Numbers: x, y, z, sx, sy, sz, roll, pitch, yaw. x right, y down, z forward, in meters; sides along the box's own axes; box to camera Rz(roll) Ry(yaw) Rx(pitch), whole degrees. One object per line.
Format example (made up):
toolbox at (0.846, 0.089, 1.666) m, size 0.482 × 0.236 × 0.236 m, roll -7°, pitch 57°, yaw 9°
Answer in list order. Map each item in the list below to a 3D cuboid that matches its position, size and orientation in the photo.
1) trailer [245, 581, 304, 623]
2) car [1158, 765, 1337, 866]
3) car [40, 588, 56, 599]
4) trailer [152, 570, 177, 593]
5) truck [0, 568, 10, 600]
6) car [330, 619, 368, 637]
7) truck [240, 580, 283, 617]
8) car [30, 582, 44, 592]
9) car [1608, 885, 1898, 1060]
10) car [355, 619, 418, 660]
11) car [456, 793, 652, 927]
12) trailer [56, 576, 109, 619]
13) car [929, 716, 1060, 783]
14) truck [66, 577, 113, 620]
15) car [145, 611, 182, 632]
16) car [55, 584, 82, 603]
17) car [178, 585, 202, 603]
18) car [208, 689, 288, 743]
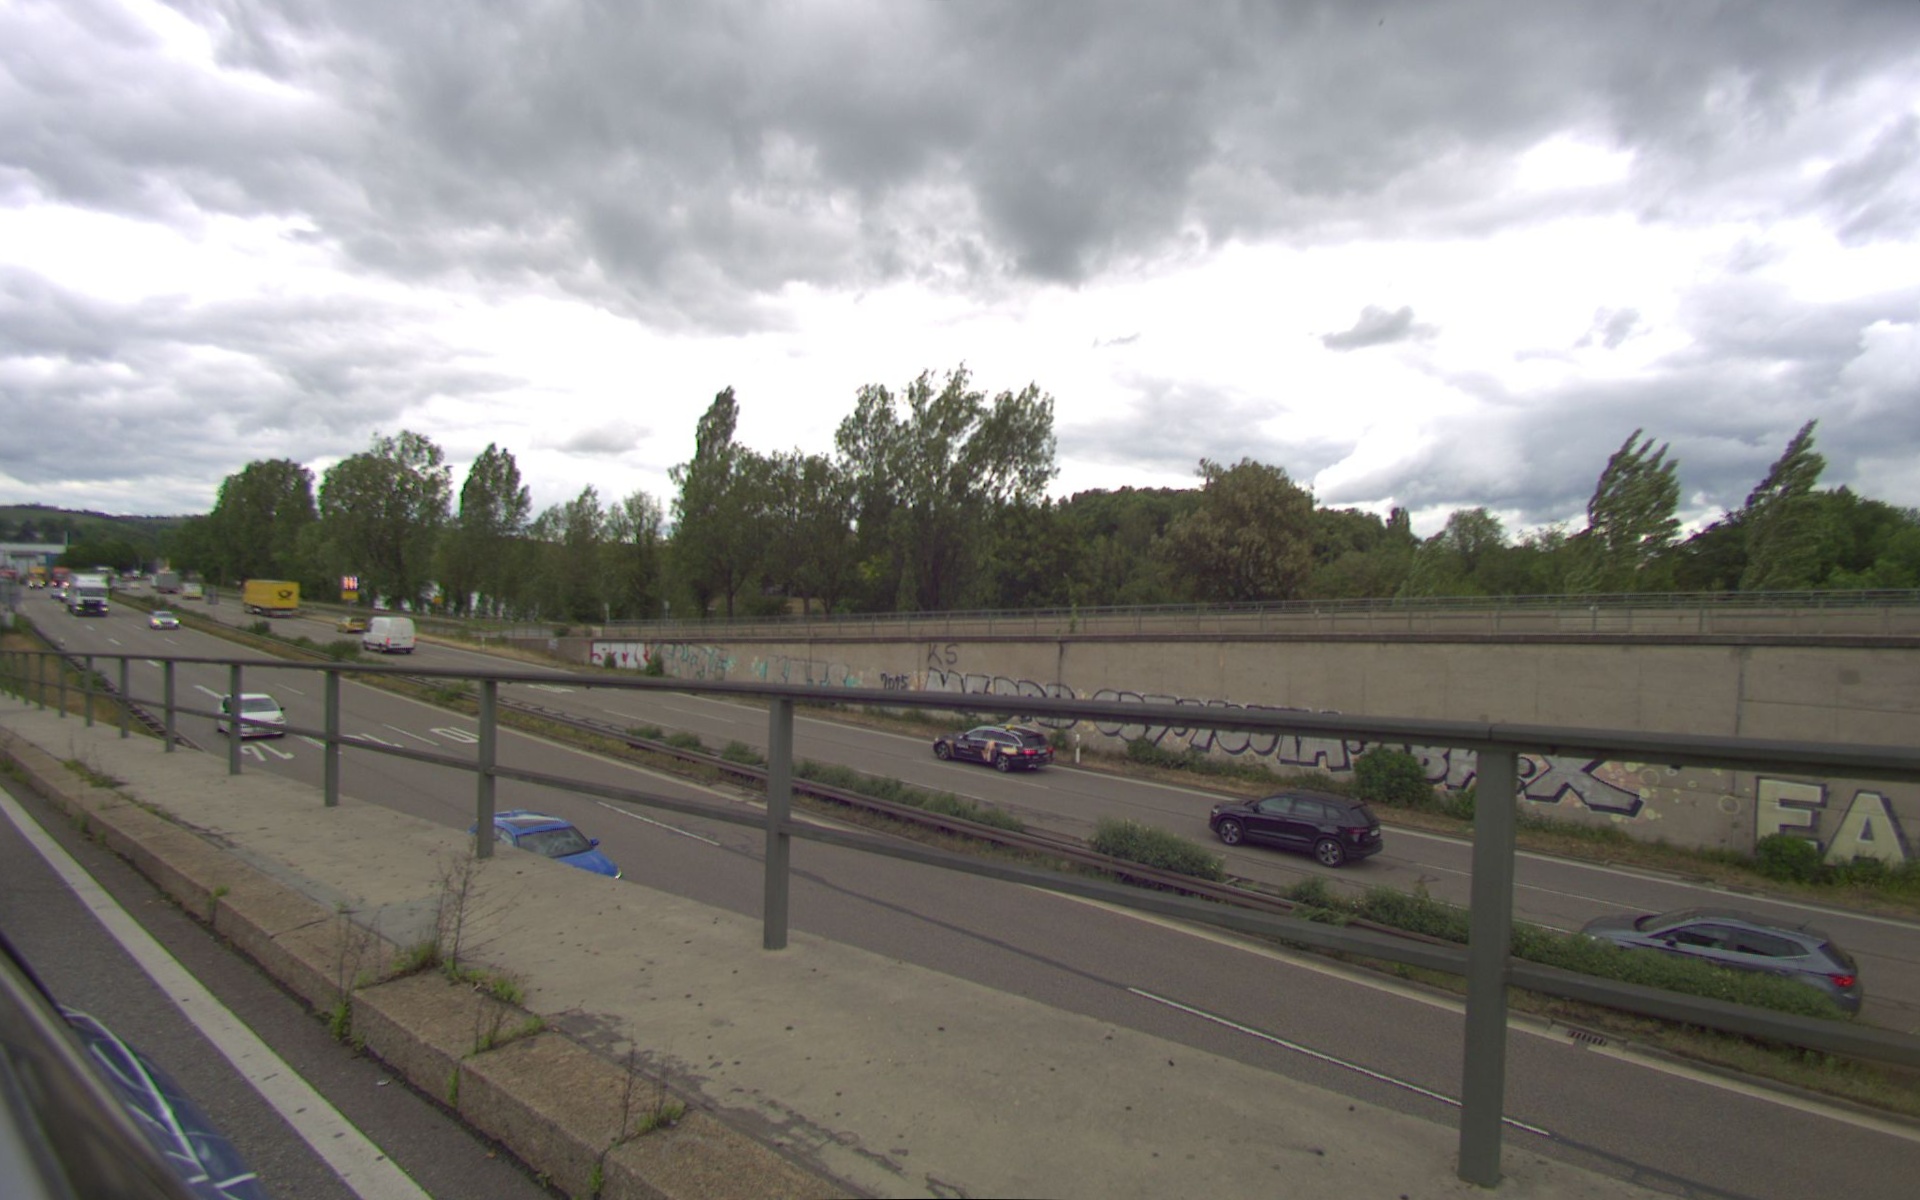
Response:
trailer at (-79.109, 0.131, 116.636) m, size 3.203 × 4.294 × 13.691 m, roll 2°, pitch 0°, yaw -44°
car at (7.607, 5.639, 26.992) m, size 4.181 × 1.731 × 1.862 m, roll 2°, pitch 0°, yaw 41°
car at (-130.625, -0.901, 144.939) m, size 3.538 × 1.383 × 1.492 m, roll 3°, pitch 0°, yaw 43°
trailer at (-156.023, -3.714, 198.396) m, size 2.753 × 4.170 × 13.780 m, roll 1°, pitch 1°, yaw -43°
truck at (-131.457, -2.200, 137.550) m, size 3.059 × 4.040 × 8.497 m, roll 1°, pitch 2°, yaw -45°
car at (-55.963, 2.568, 92.648) m, size 4.152 × 1.468 × 1.848 m, roll 2°, pitch 0°, yaw 41°
truck at (-83.910, -0.211, 121.573) m, size 3.203 × 4.213 × 5.808 m, roll 2°, pitch 0°, yaw -45°
car at (-176.789, -2.517, 193.788) m, size 4.002 × 1.679 × 1.786 m, roll 3°, pitch 1°, yaw 44°
car at (13.151, 6.078, 16.948) m, size 3.649 × 1.464 × 1.696 m, roll 2°, pitch 1°, yaw 41°
car at (-41.948, 2.840, 73.965) m, size 6.101 × 2.613 × 2.144 m, roll 2°, pitch 0°, yaw 42°
car at (-8.108, 5.015, 20.081) m, size 3.999 × 1.544 × 1.973 m, roll 2°, pitch -1°, yaw 41°
trailer at (-94.064, -0.367, 108.354) m, size 13.995 × 4.140 × 2.969 m, roll 2°, pitch 0°, yaw 44°
car at (1.221, 5.394, 36.987) m, size 4.632 × 1.664 × 1.840 m, roll 2°, pitch 0°, yaw 41°
truck at (-88.716, -0.152, 103.133) m, size 5.876 × 4.140 × 2.969 m, roll 2°, pitch 0°, yaw 44°
car at (-70.213, 1.879, 89.207) m, size 4.439 × 1.582 × 1.830 m, roll 3°, pitch 2°, yaw 43°
car at (-119.002, -0.827, 135.112) m, size 6.502 × 2.259 × 2.076 m, roll 3°, pitch 0°, yaw 43°
car at (-124.947, -0.990, 164.153) m, size 6.715 × 2.648 × 1.972 m, roll 2°, pitch -1°, yaw 43°
car at (-26.117, 4.196, 37.093) m, size 3.337 × 1.539 × 1.745 m, roll 2°, pitch 0°, yaw 43°
